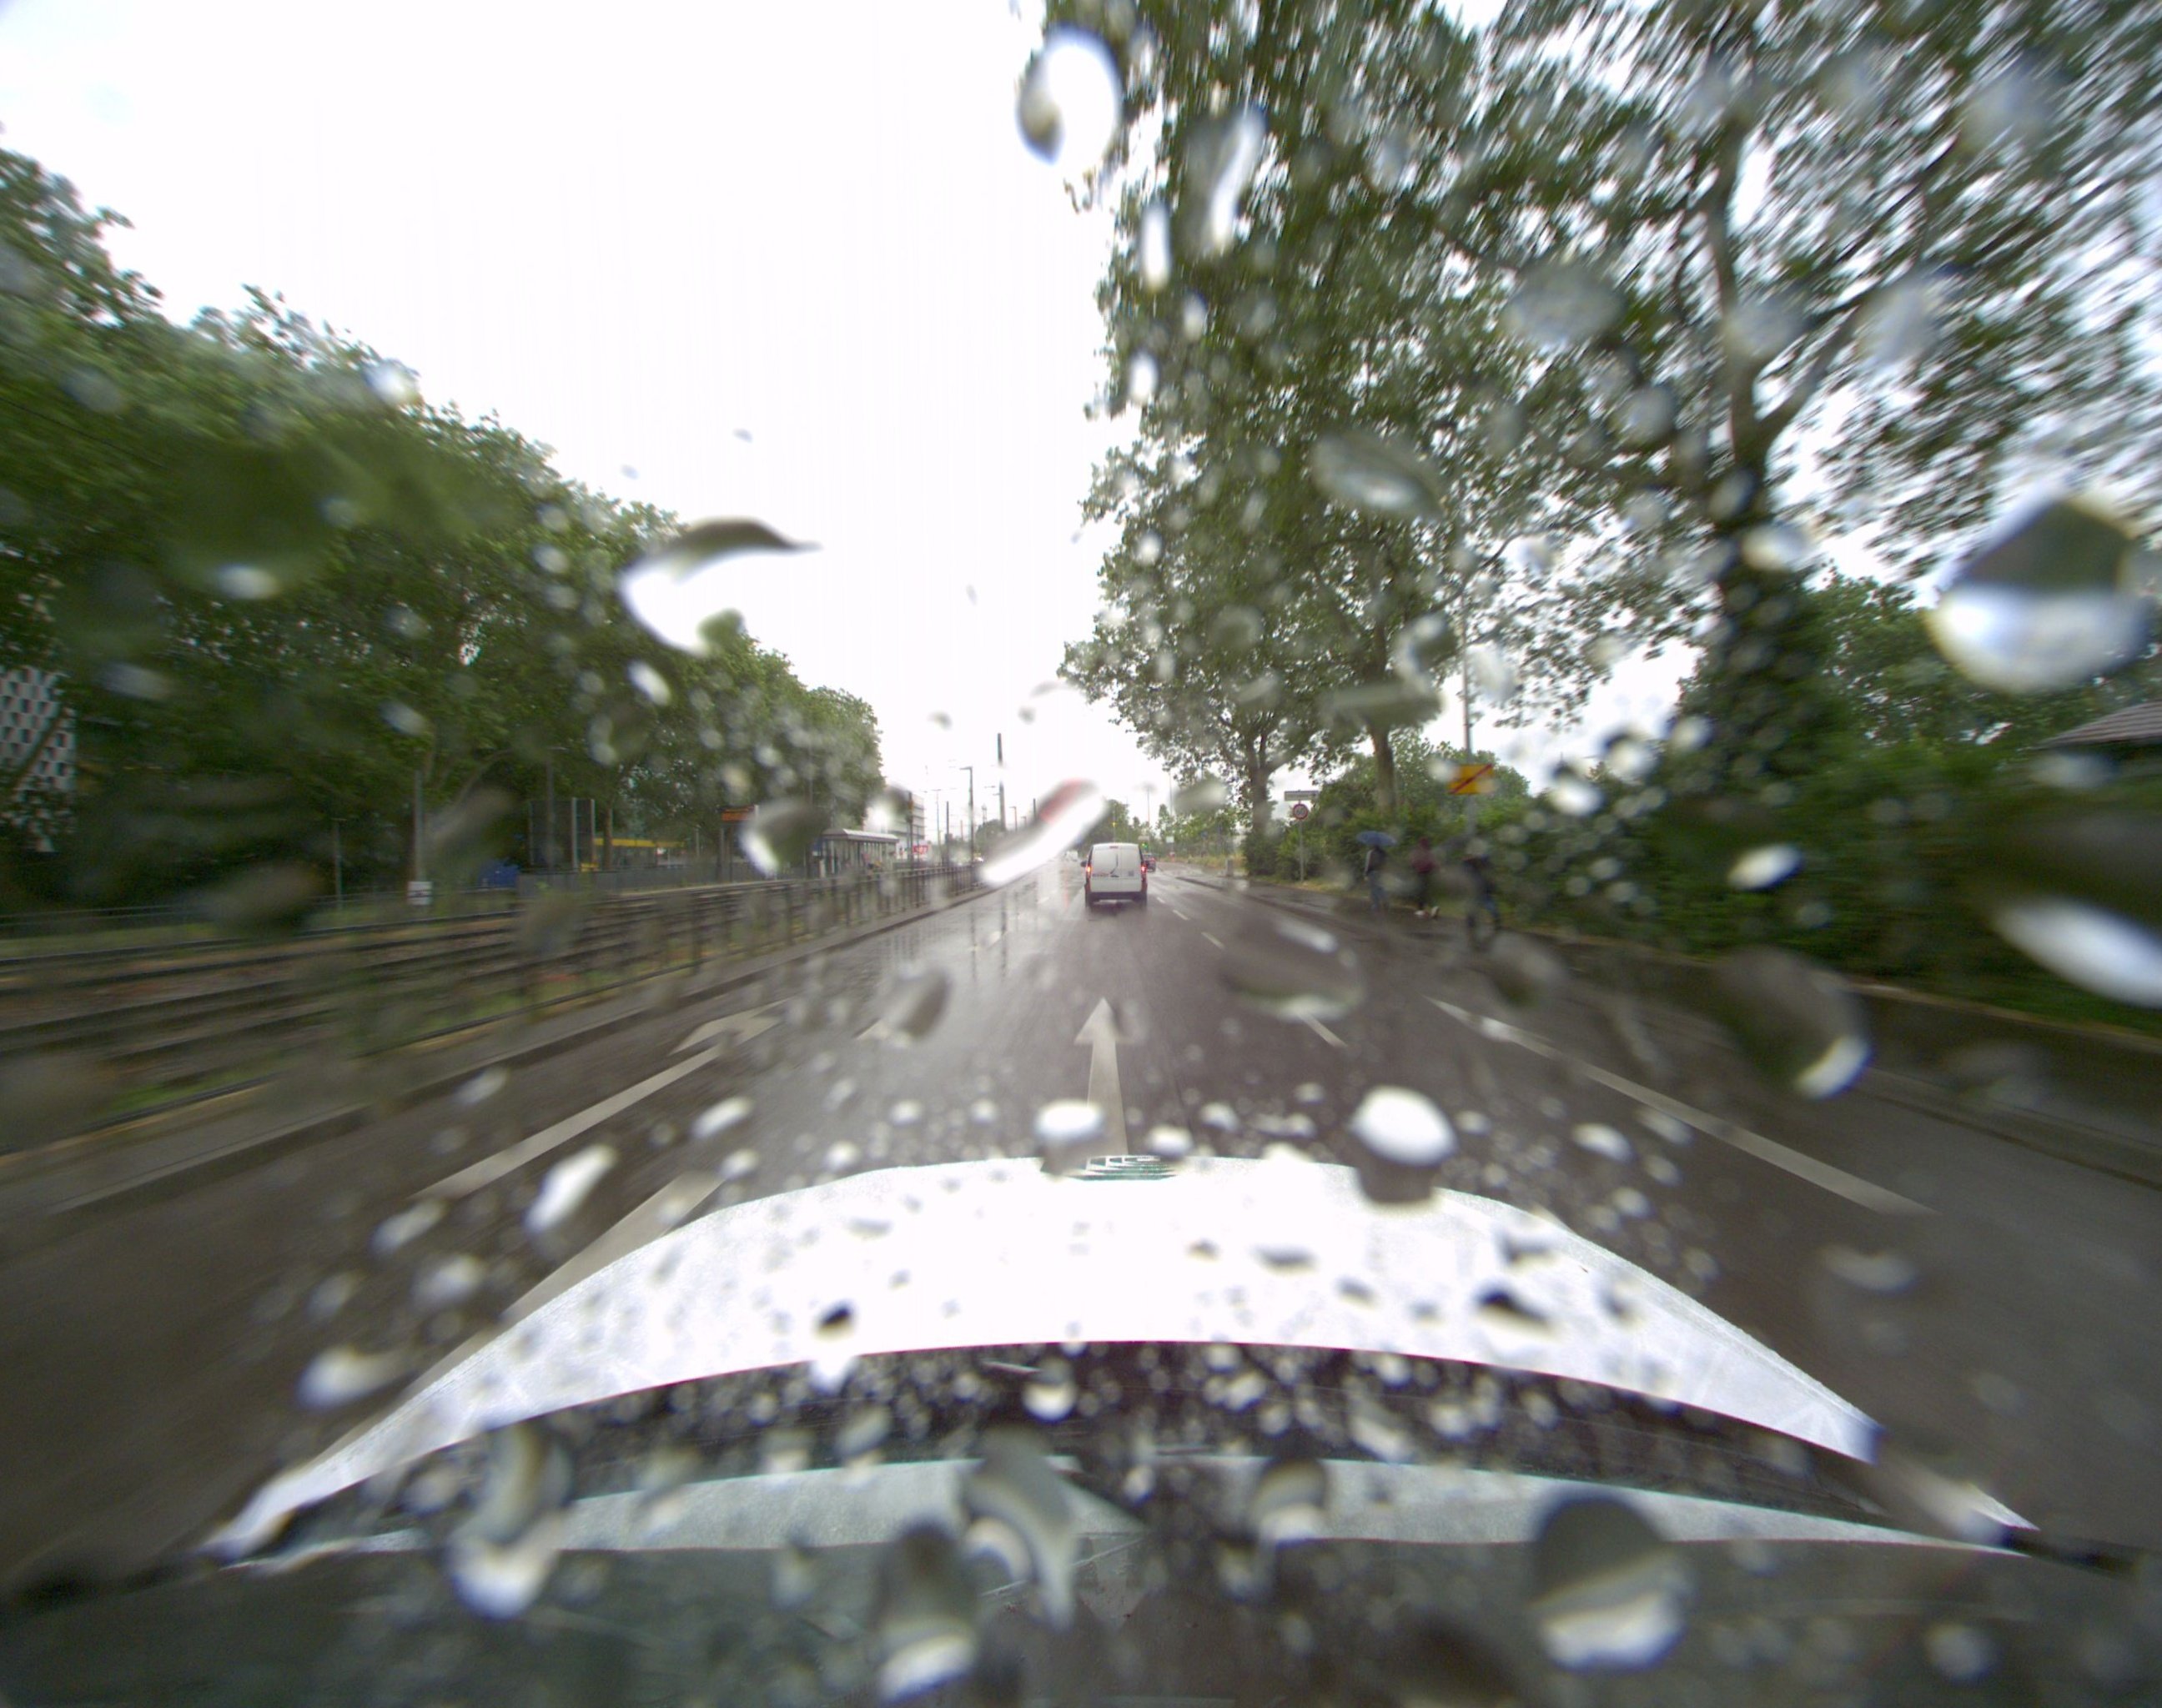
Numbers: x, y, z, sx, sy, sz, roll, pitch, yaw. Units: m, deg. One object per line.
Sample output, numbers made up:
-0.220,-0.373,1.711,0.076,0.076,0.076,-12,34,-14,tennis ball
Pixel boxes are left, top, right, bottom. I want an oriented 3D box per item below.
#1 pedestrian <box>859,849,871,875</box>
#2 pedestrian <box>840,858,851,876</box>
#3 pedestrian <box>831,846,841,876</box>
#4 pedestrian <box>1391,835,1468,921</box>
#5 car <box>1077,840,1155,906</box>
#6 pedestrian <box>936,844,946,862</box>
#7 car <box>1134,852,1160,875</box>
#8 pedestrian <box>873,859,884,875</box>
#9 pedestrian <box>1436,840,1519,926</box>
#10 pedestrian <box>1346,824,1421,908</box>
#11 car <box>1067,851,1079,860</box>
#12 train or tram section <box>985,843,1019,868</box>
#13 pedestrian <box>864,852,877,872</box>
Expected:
-16.076,0.610,60.617,0.618,1.933,0.815,0,-1,5,pedestrian
-16.313,0.888,56.412,0.491,1.267,0.665,0,-1,5,pedestrian
-16.242,0.457,53.988,0.491,2.014,0.583,0,-1,1,pedestrian
6.913,0.462,16.217,0.943,1.589,1.294,-3,0,1,pedestrian
0.942,0.526,24.156,2.019,1.775,4.271,0,0,-1,car
-16.493,-0.106,96.008,1.084,2.014,1.096,0,0,0,pedestrian
5.231,0.750,65.229,1.985,1.750,4.003,0,0,3,car
-16.468,1.026,66.291,0.640,1.303,0.815,0,0,5,pedestrian
6.845,0.489,14.116,0.889,1.390,1.017,-3,-1,1,pedestrian
6.785,0.261,18.347,1.235,1.786,1.147,-2,-1,1,pedestrian
-1.618,0.297,157.519,1.990,1.750,3.993,0,0,-5,car
-13.562,0.294,142.986,3.759,4.036,27.081,0,0,-1,train or tram section
-16.479,0.625,63.788,0.829,1.561,0.667,0,-1,-25,pedestrian
